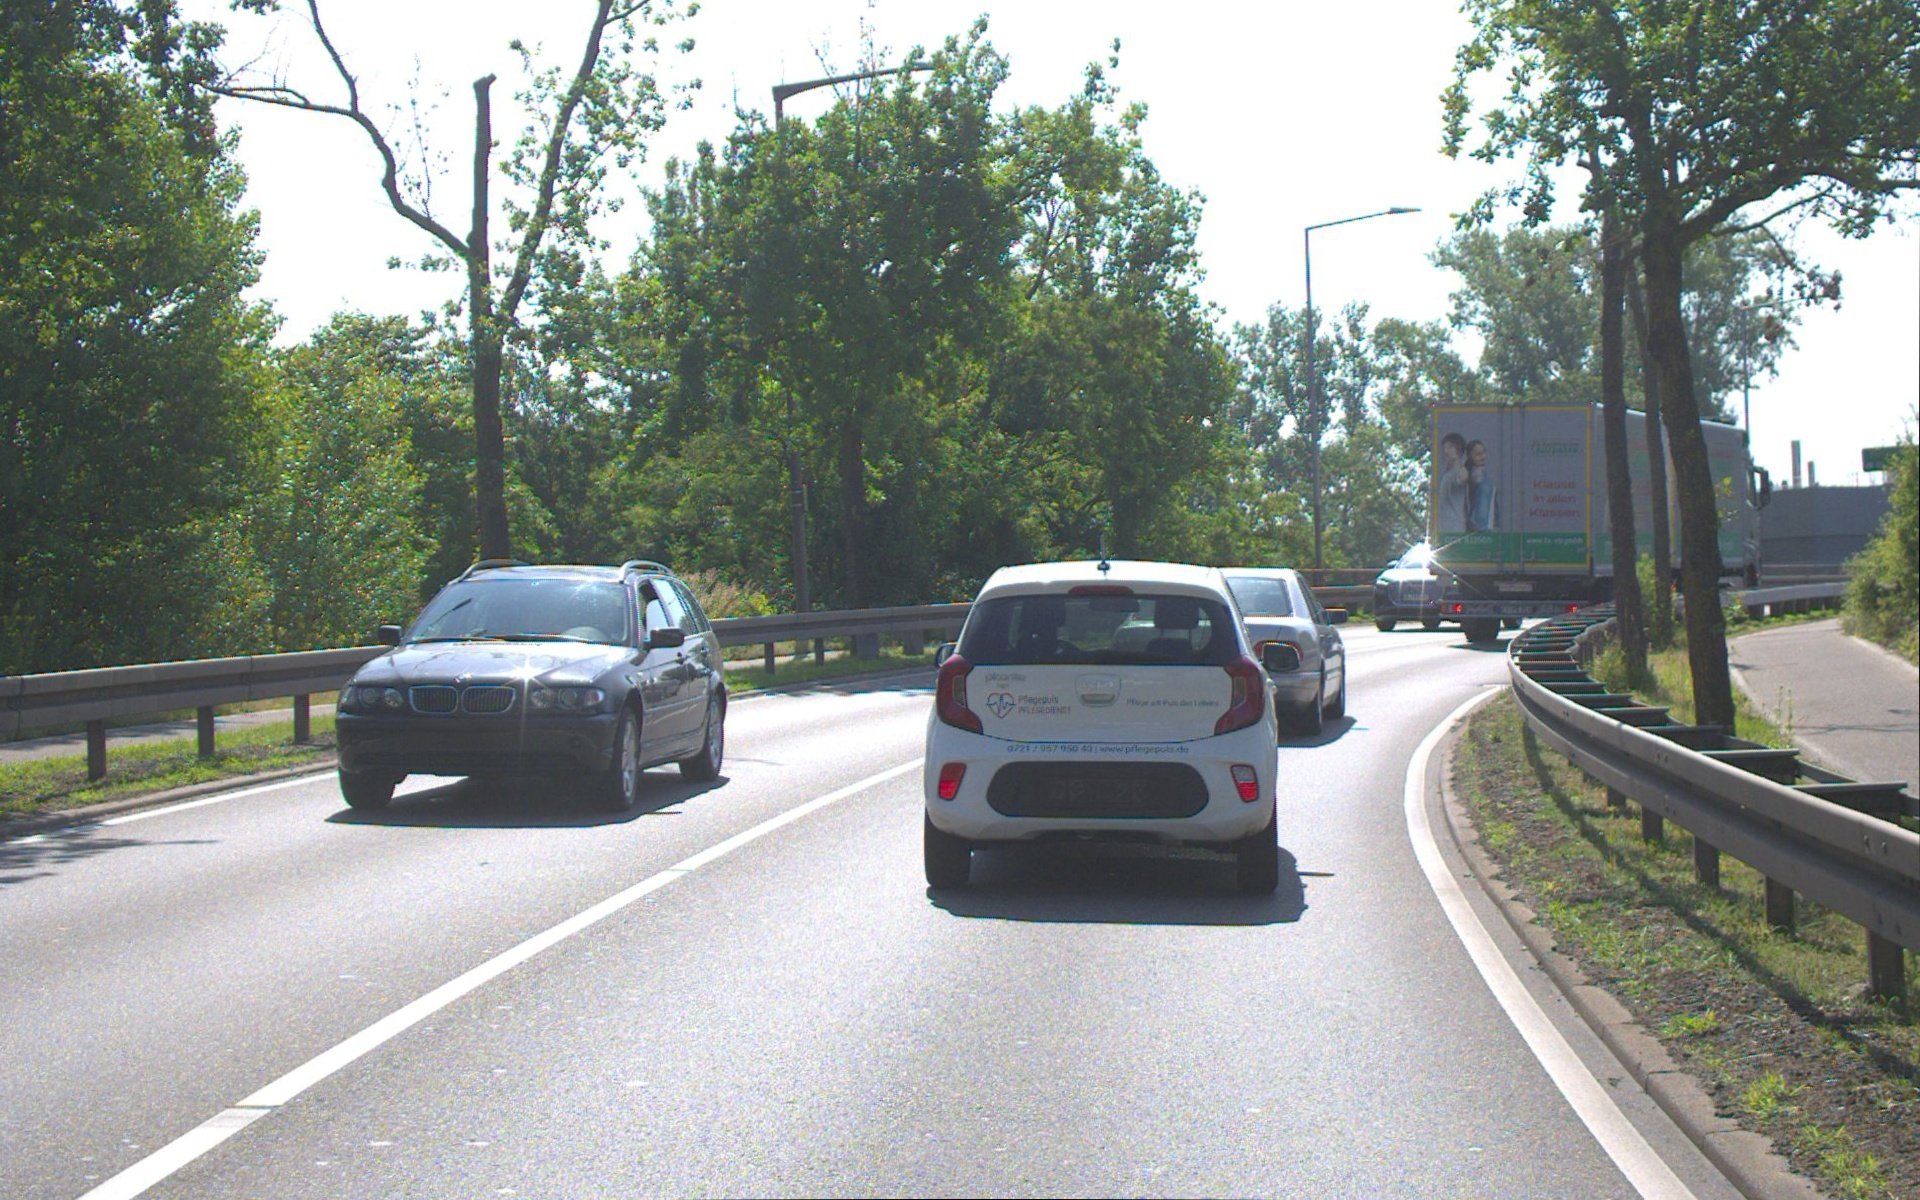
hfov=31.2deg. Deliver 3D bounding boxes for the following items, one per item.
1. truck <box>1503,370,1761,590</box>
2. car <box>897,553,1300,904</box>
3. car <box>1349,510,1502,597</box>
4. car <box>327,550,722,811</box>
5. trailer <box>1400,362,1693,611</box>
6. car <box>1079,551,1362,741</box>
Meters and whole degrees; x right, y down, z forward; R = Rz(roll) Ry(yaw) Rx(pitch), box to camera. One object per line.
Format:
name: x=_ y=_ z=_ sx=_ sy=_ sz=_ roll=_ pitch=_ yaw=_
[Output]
truck: x=12.479 y=-2.266 z=63.190 sx=3.264 sy=3.745 sz=8.363 roll=1 pitch=3 yaw=21
car: x=0.792 y=0.529 z=16.965 sx=1.702 sy=1.489 sz=3.999 roll=1 pitch=1 yaw=6
car: x=8.511 y=-0.862 z=62.621 sx=1.932 sy=1.528 sz=4.113 roll=0 pitch=1 yaw=20
car: x=-2.600 y=0.432 z=21.436 sx=1.702 sy=1.443 sz=4.120 roll=1 pitch=1 yaw=3
trailer: x=9.648 y=-1.905 z=55.793 sx=3.228 sy=3.745 sz=7.817 roll=1 pitch=3 yaw=21
car: x=2.363 y=0.333 z=29.992 sx=1.940 sy=1.481 sz=4.898 roll=0 pitch=1 yaw=11
